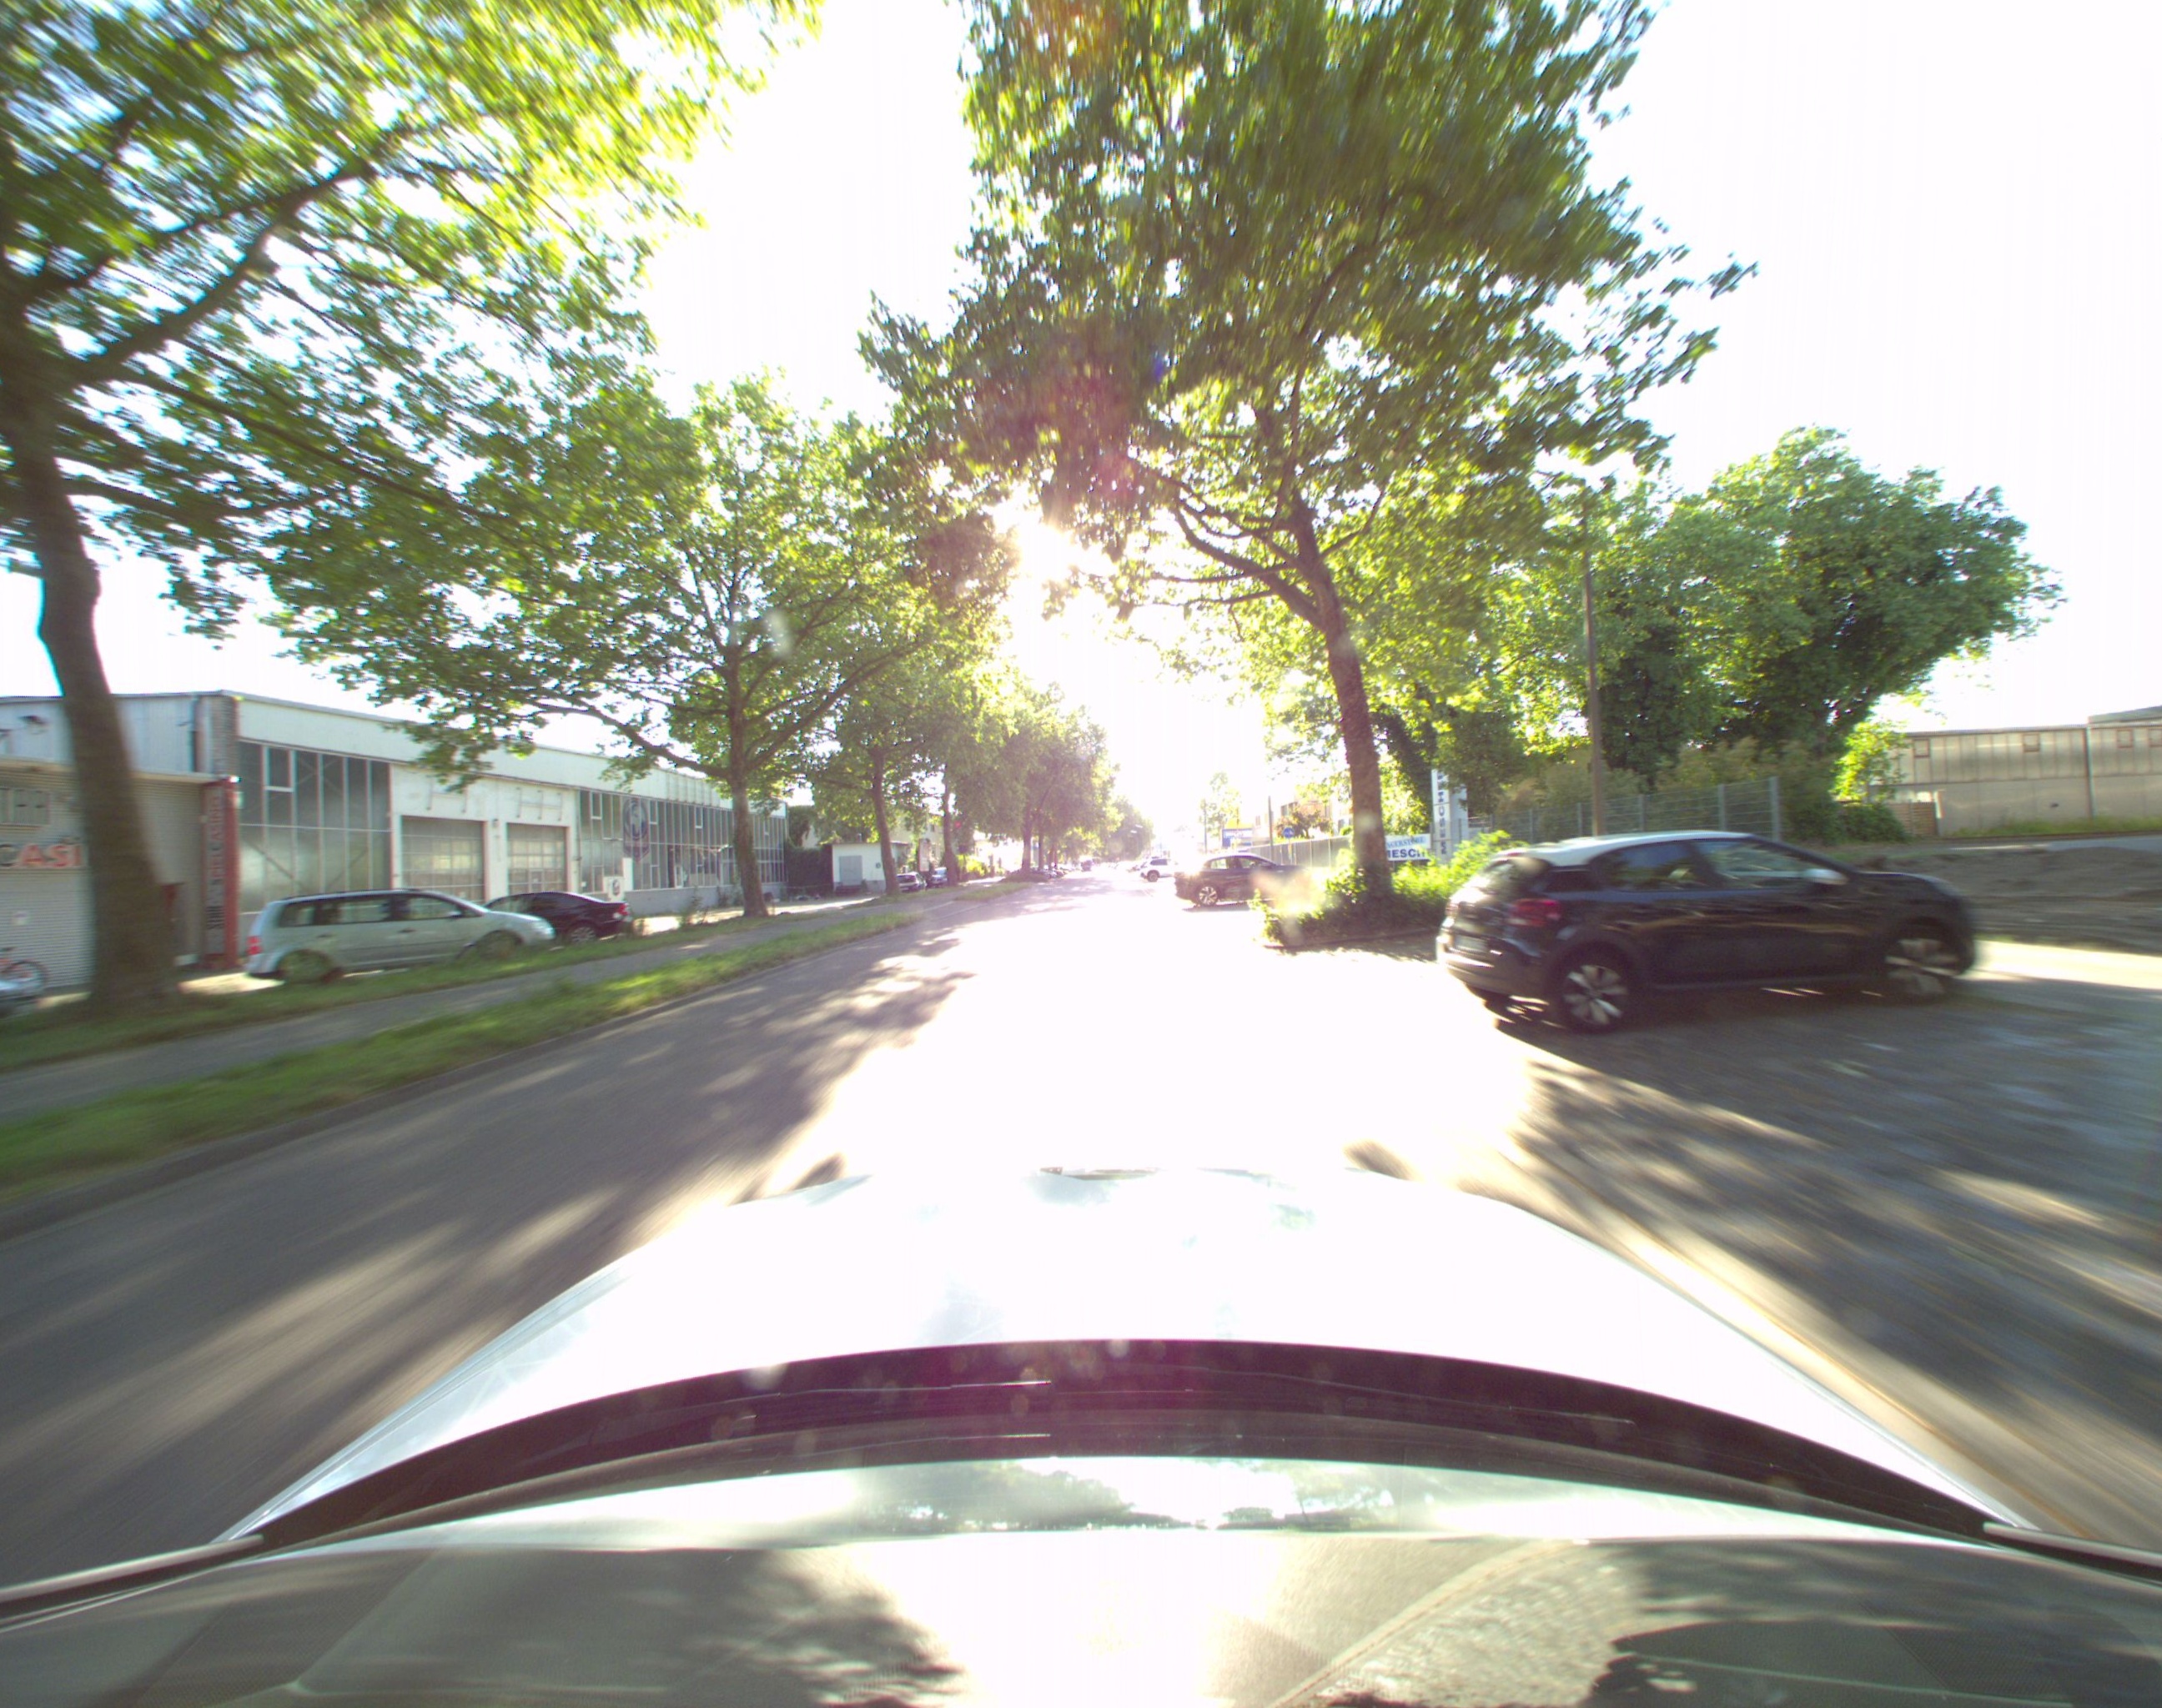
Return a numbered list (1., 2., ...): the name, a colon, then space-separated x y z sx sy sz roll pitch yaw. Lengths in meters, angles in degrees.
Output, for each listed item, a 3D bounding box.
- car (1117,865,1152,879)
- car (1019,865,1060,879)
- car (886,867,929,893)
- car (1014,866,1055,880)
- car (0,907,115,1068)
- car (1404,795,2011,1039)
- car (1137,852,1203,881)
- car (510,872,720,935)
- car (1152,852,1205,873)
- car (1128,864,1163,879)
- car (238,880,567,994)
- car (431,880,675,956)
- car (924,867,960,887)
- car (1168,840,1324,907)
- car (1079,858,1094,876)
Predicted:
1. car: 7.454 2.525 113.901 4.585 1.613 2.000 -5 -1 0
2. car: -4.784 2.090 95.292 4.584 1.422 2.000 -2 0 0
3. car: -11.055 1.651 52.138 1.989 1.369 3.916 -7 -1 -3
4. car: -5.020 2.076 89.264 4.341 1.422 1.999 -2 0 -1
5. car: -13.538 1.482 8.368 4.281 1.629 1.978 0 -1 -36
6. car: 5.125 0.489 7.108 3.773 1.486 1.860 -6 -1 -1
7. car: 6.634 0.964 61.056 4.611 1.712 1.999 -5 -1 -1
8. car: -12.211 1.229 21.479 4.508 1.306 1.976 -2 0 -40
9. car: 8.989 0.815 75.369 4.611 1.526 1.999 -5 -1 -1
10. car: 8.641 2.373 109.406 4.581 1.580 2.002 -5 -1 3
11. car: -12.362 1.411 15.279 4.504 1.731 1.978 0 -1 -36
12. car: -12.115 1.378 18.831 4.508 1.306 1.976 -2 0 -40
13. car: -11.454 1.864 67.485 1.985 1.576 4.276 -1 -1 3
14. car: 5.285 0.619 26.537 4.558 1.715 1.942 -5 -1 -3
15. car: 0.876 2.080 129.254 2.120 2.659 7.003 -3 0 2
